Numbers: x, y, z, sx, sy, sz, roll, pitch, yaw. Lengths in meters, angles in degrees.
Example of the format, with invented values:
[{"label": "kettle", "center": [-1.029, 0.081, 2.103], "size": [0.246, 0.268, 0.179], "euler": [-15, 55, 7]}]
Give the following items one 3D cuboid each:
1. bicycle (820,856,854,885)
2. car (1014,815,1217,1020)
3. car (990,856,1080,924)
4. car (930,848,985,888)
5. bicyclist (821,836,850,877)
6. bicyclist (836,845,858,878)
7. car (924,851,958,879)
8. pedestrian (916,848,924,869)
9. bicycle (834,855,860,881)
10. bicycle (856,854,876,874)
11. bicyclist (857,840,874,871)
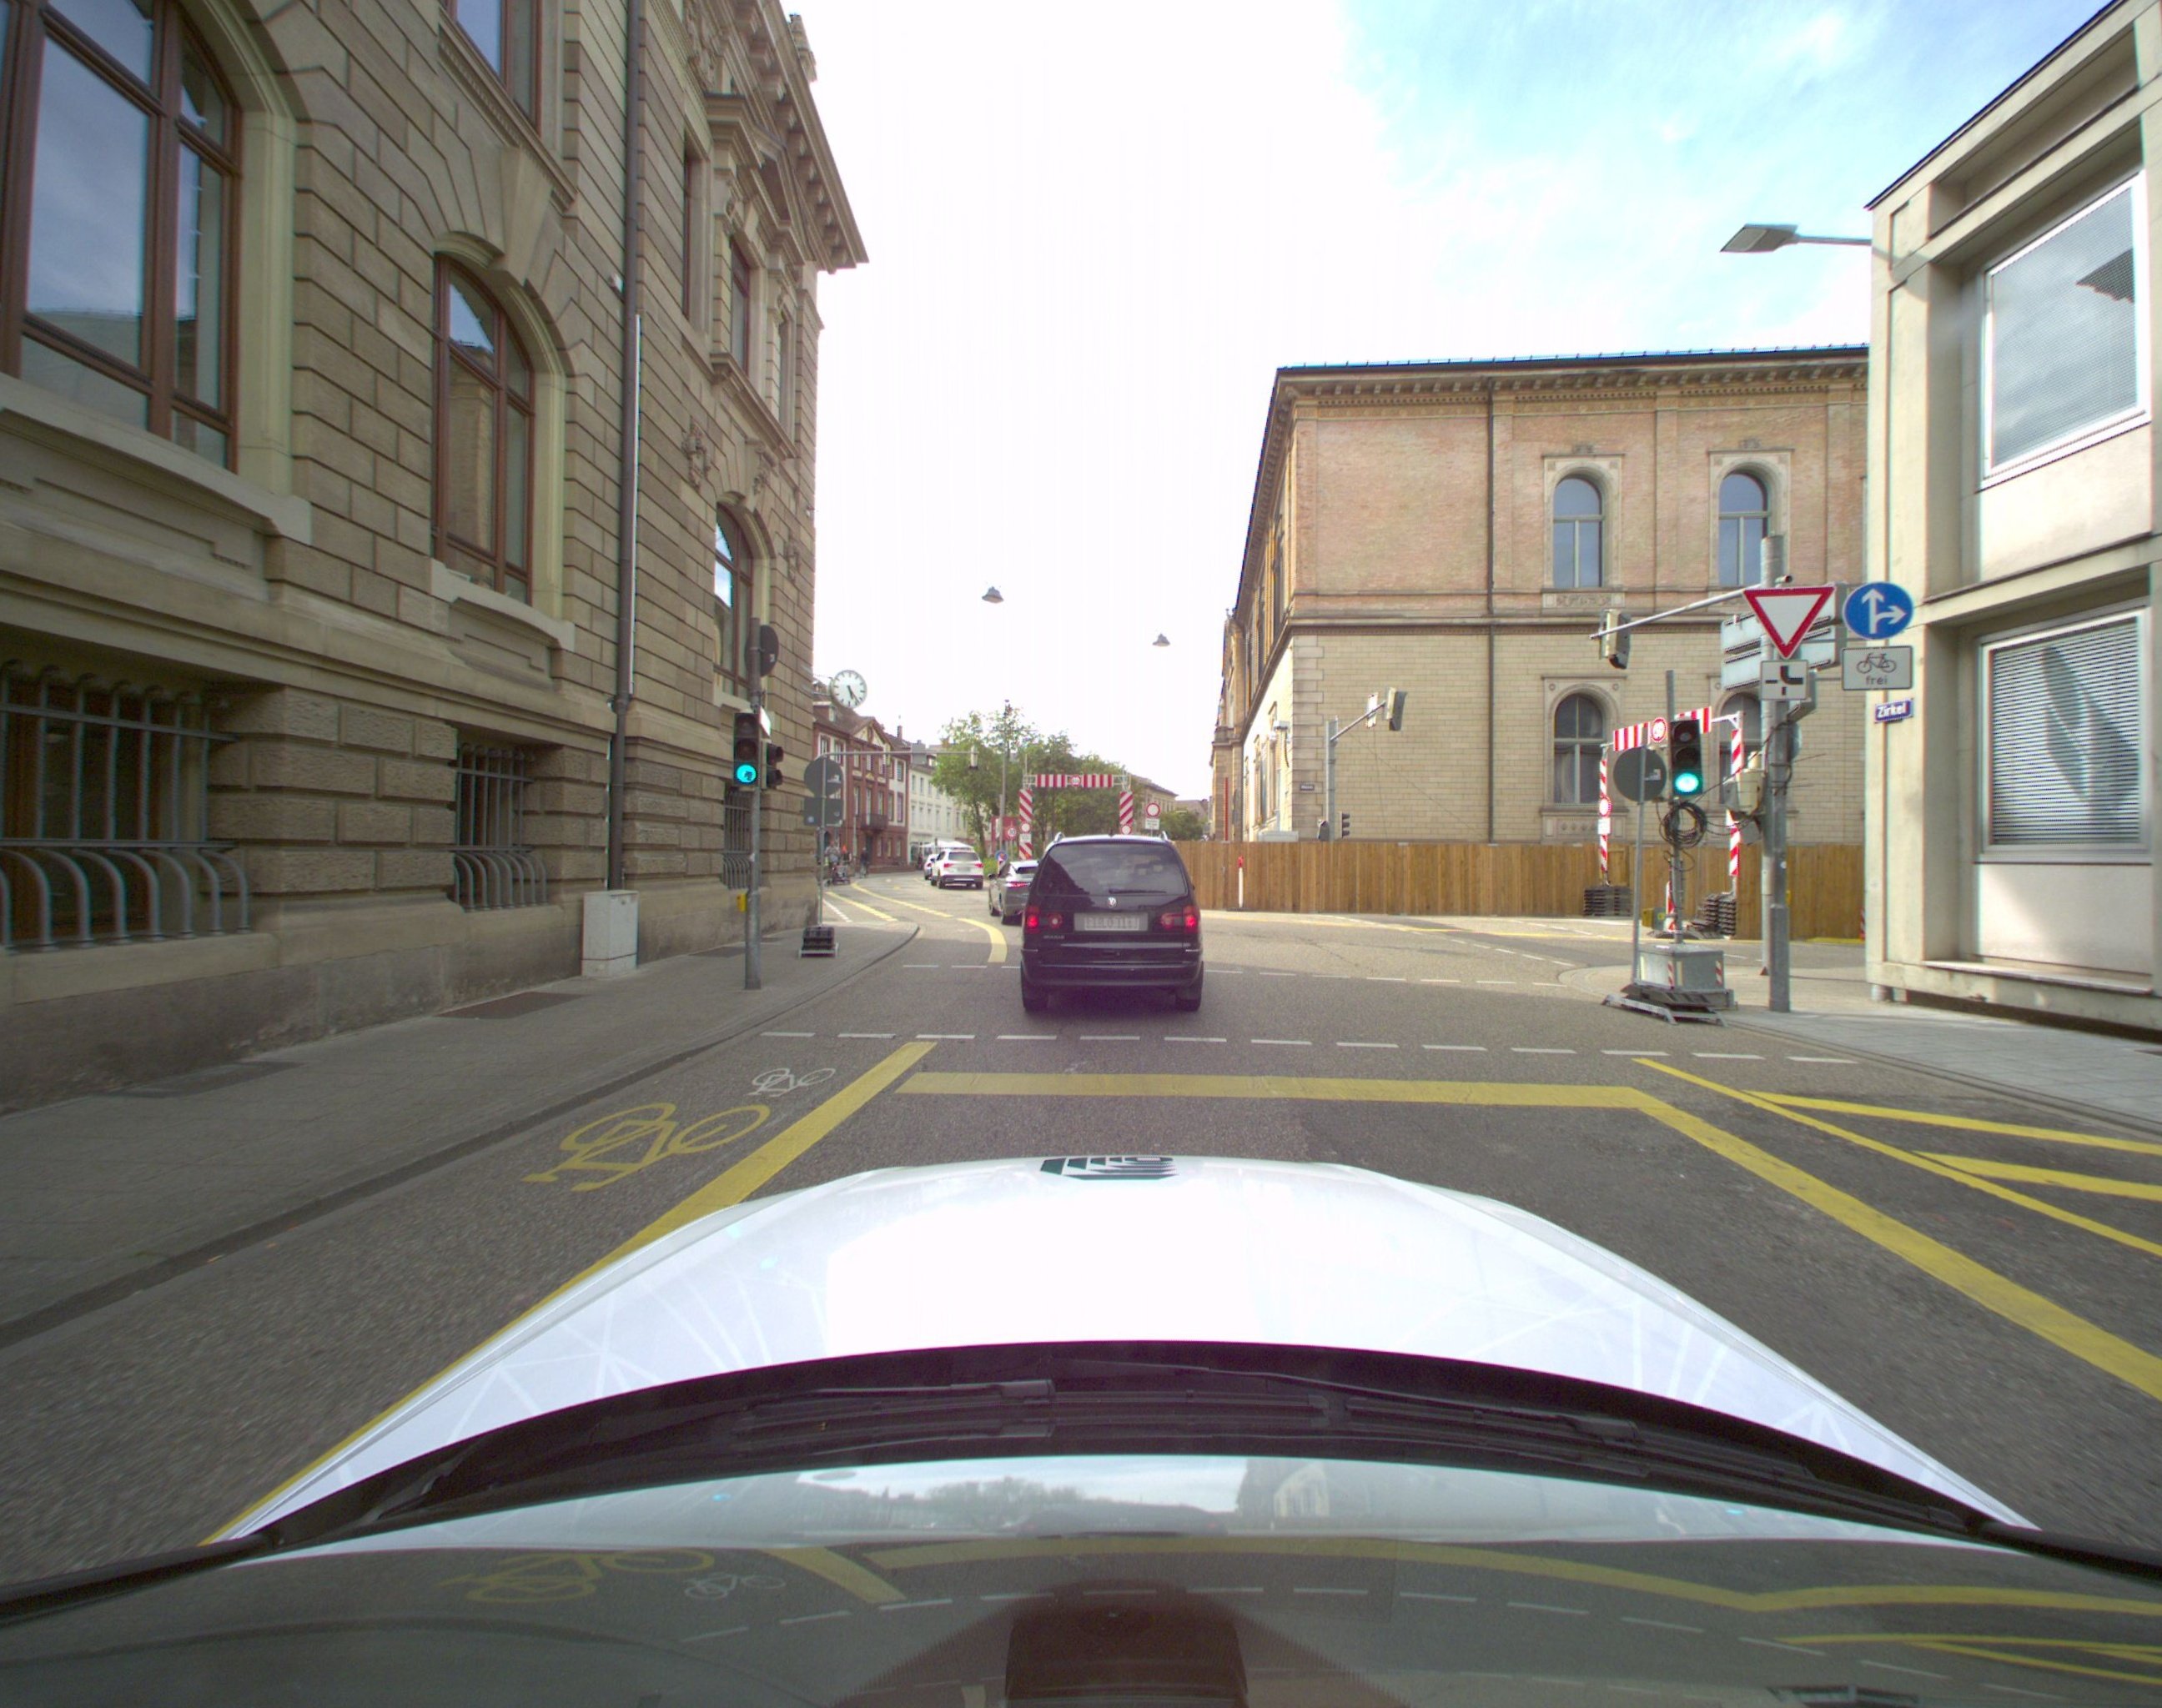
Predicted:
[{"label": "bicycle", "center": [-11.062, 0.715, 36.986], "size": [1.056, 1.255, 3.031], "euler": [0, -1, -8]}, {"label": "car", "center": [0.353, 0.577, 9.256], "size": [1.783, 1.790, 4.104], "euler": [0, -1, 1]}, {"label": "car", "center": [-1.218, 0.789, 19.710], "size": [1.678, 1.469, 4.088], "euler": [1, -1, -10]}, {"label": "car", "center": [-5.298, 0.592, 34.642], "size": [1.777, 1.586, 3.977], "euler": [0, -1, -17]}, {"label": "bicyclist", "center": [-11.042, 0.128, 36.679], "size": [1.090, 1.824, 1.361], "euler": [0, -1, -9]}, {"label": "bicyclist", "center": [-11.642, 0.391, 40.606], "size": [0.925, 1.609, 1.060], "euler": [0, -1, -9]}, {"label": "car", "center": [-7.943, 0.595, 46.123], "size": [1.705, 1.501, 3.982], "euler": [0, -1, -13]}, {"label": "pedestrian", "center": [-15.451, 0.454, 78.266], "size": [0.582, 2.014, 0.688], "euler": [0, -1, 9]}, {"label": "bicycle", "center": [-11.621, 0.697, 40.498], "size": [0.925, 1.255, 2.533], "euler": [0, -1, -8]}, {"label": "bicycle", "center": [-13.738, 0.629, 52.022], "size": [0.925, 1.255, 2.533], "euler": [0, -1, -8]}, {"label": "bicyclist", "center": [-13.720, 0.102, 51.923], "size": [0.925, 1.963, 1.102], "euler": [0, -1, -9]}]
